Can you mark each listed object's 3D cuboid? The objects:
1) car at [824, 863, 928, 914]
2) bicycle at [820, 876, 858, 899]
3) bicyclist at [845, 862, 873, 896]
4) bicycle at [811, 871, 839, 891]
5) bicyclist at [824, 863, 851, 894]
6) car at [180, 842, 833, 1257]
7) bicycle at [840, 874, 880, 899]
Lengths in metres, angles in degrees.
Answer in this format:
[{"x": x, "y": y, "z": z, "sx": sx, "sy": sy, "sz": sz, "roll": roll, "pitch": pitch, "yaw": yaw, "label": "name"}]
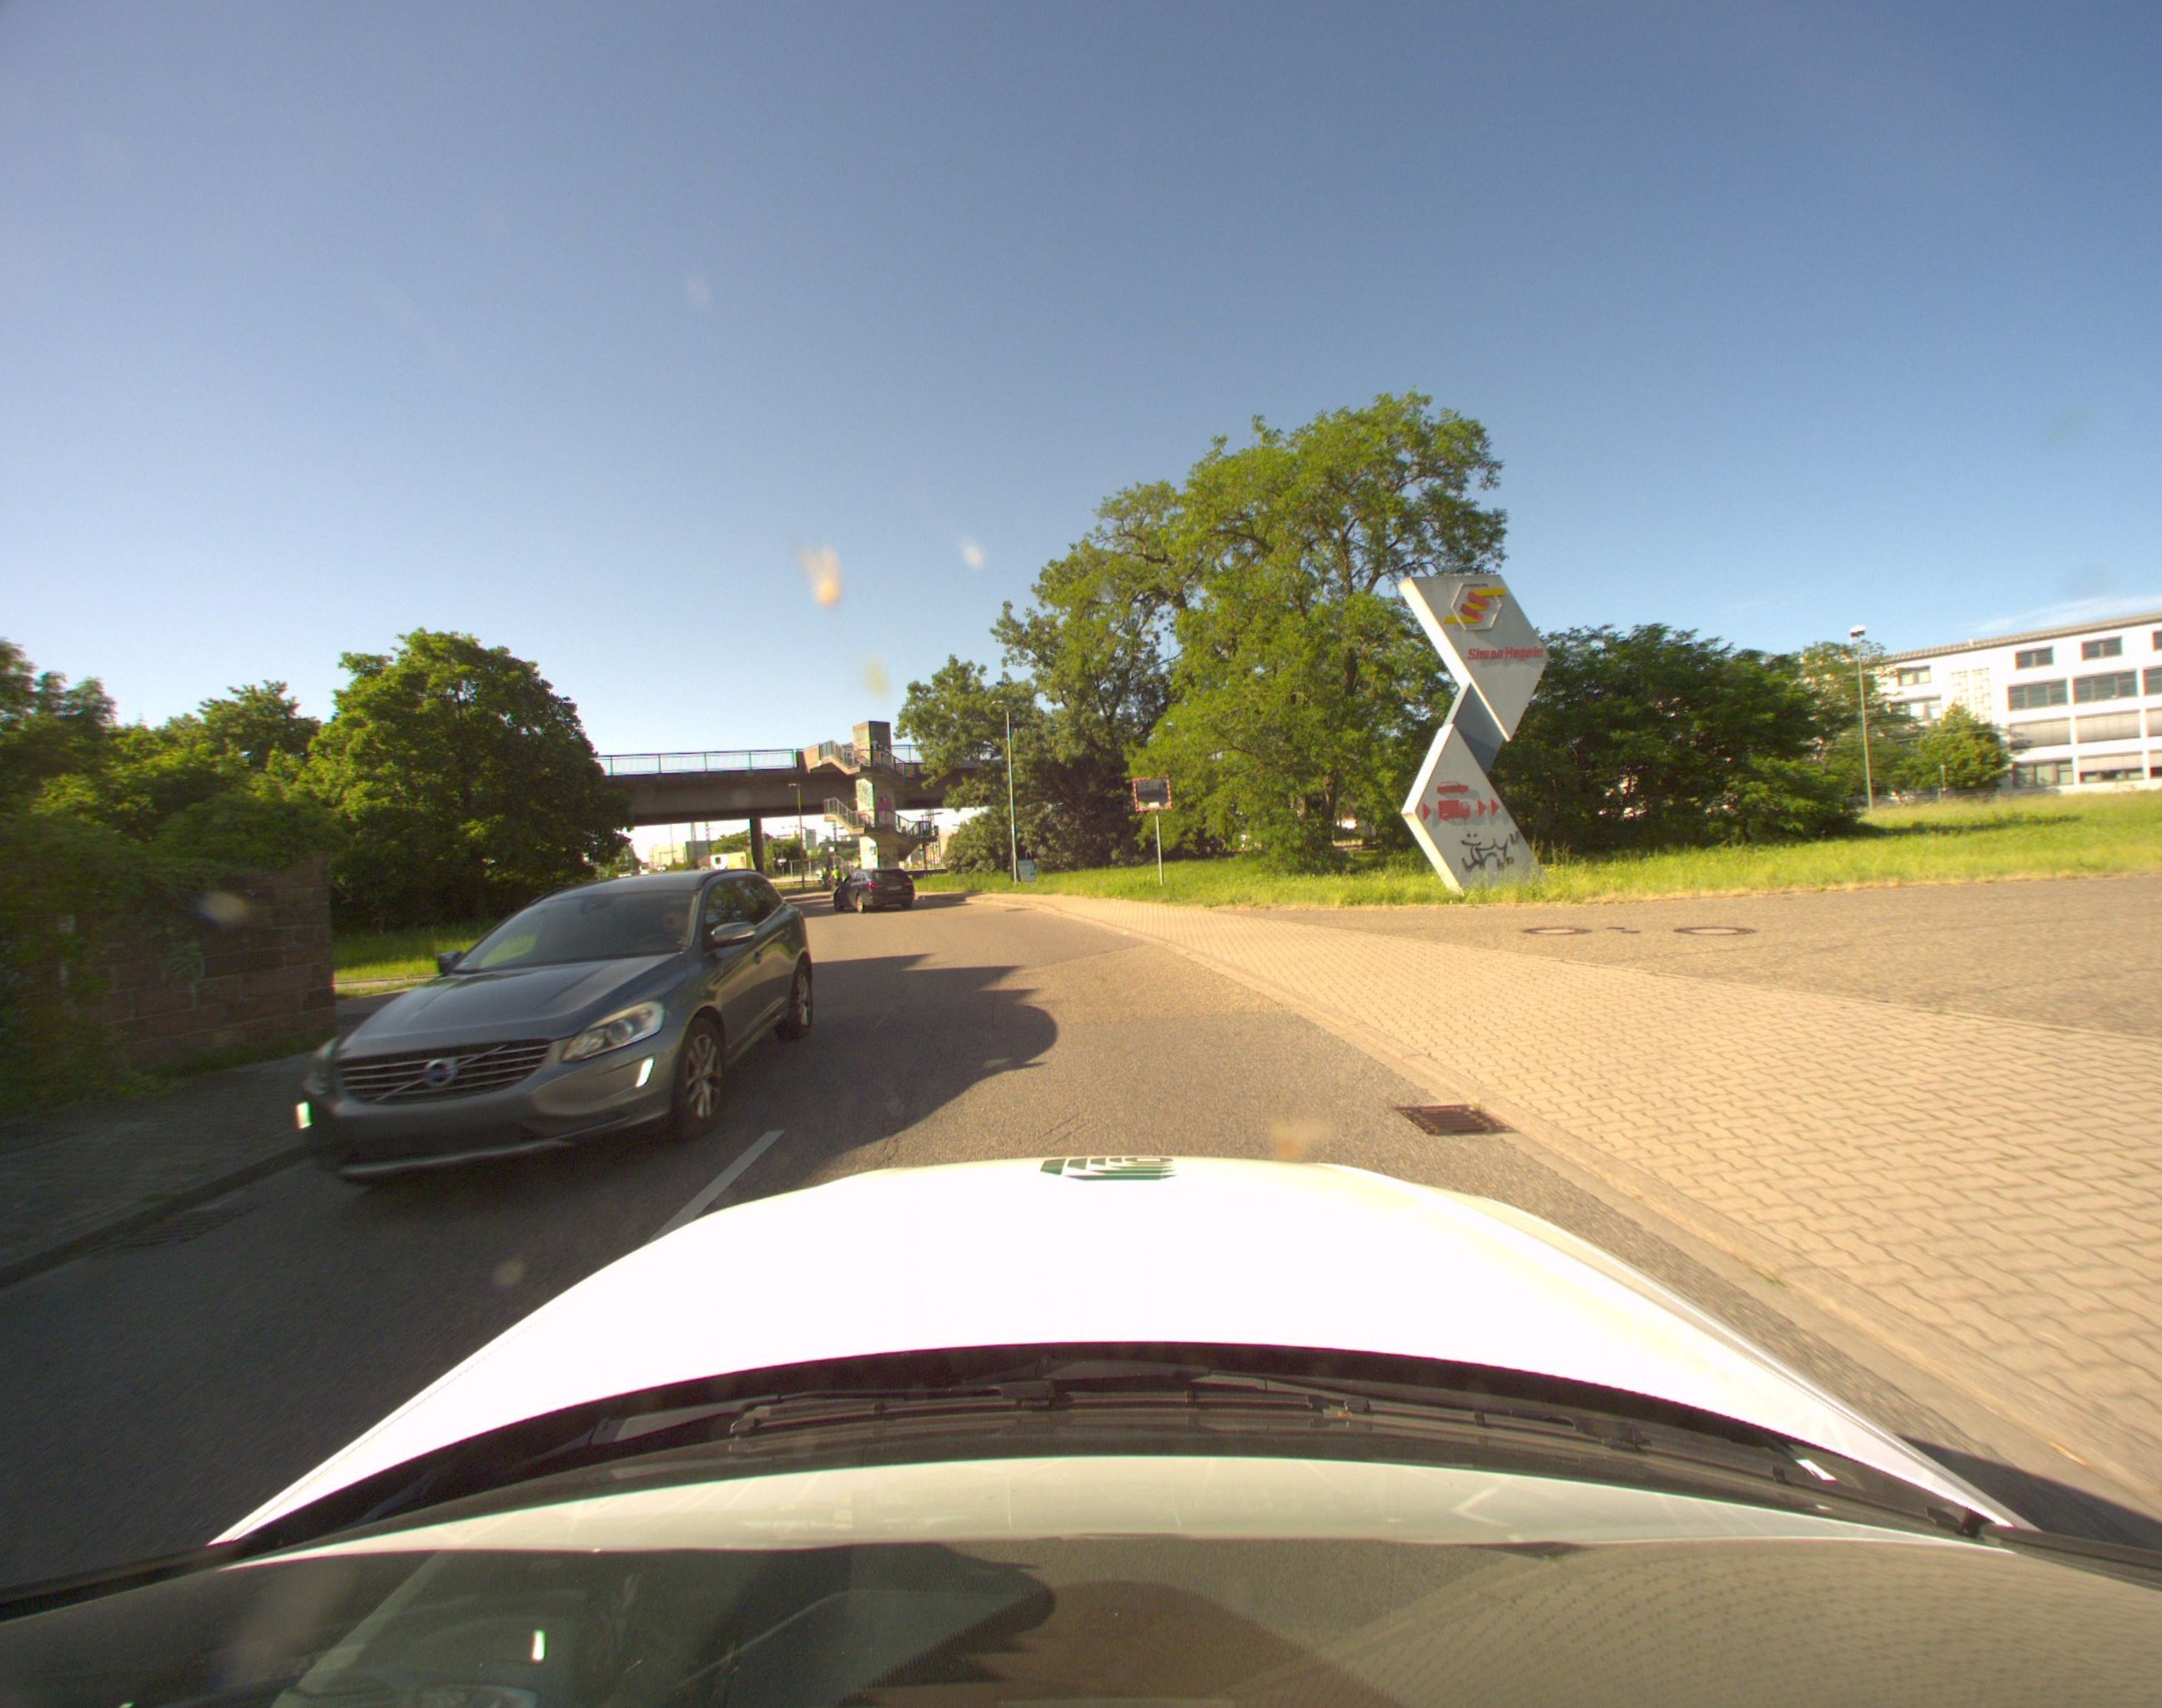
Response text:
[{"x": -7.249, "y": 1.195, "z": 28.456, "sx": 1.957, "sy": 1.488, "sz": 4.515, "roll": -4, "pitch": 0, "yaw": -35, "label": "car"}, {"x": -12.099, "y": 1.663, "z": 40.680, "sx": 0.848, "sy": 1.051, "sz": 2.162, "roll": -5, "pitch": 0, "yaw": -44, "label": "bicycle"}, {"x": -10.335, "y": 1.147, "z": 37.882, "sx": 0.848, "sy": 1.488, "sz": 0.912, "roll": -4, "pitch": 0, "yaw": -42, "label": "bicyclist"}, {"x": -16.760, "y": 1.756, "z": 53.302, "sx": 2.153, "sy": 1.182, "sz": 0.603, "roll": -4, "pitch": 1, "yaw": 42, "label": "bicycle"}, {"x": -12.184, "y": 1.235, "z": 40.729, "sx": 0.848, "sy": 1.488, "sz": 0.912, "roll": -5, "pitch": 0, "yaw": -44, "label": "bicyclist"}, {"x": -3.387, "y": 0.917, "z": 6.173, "sx": 1.993, "sy": 1.695, "sz": 4.553, "roll": -7, "pitch": 1, "yaw": -8, "label": "car"}, {"x": -10.260, "y": 1.532, "z": 37.832, "sx": 0.848, "sy": 1.051, "sz": 2.163, "roll": -5, "pitch": 0, "yaw": -42, "label": "bicycle"}]
